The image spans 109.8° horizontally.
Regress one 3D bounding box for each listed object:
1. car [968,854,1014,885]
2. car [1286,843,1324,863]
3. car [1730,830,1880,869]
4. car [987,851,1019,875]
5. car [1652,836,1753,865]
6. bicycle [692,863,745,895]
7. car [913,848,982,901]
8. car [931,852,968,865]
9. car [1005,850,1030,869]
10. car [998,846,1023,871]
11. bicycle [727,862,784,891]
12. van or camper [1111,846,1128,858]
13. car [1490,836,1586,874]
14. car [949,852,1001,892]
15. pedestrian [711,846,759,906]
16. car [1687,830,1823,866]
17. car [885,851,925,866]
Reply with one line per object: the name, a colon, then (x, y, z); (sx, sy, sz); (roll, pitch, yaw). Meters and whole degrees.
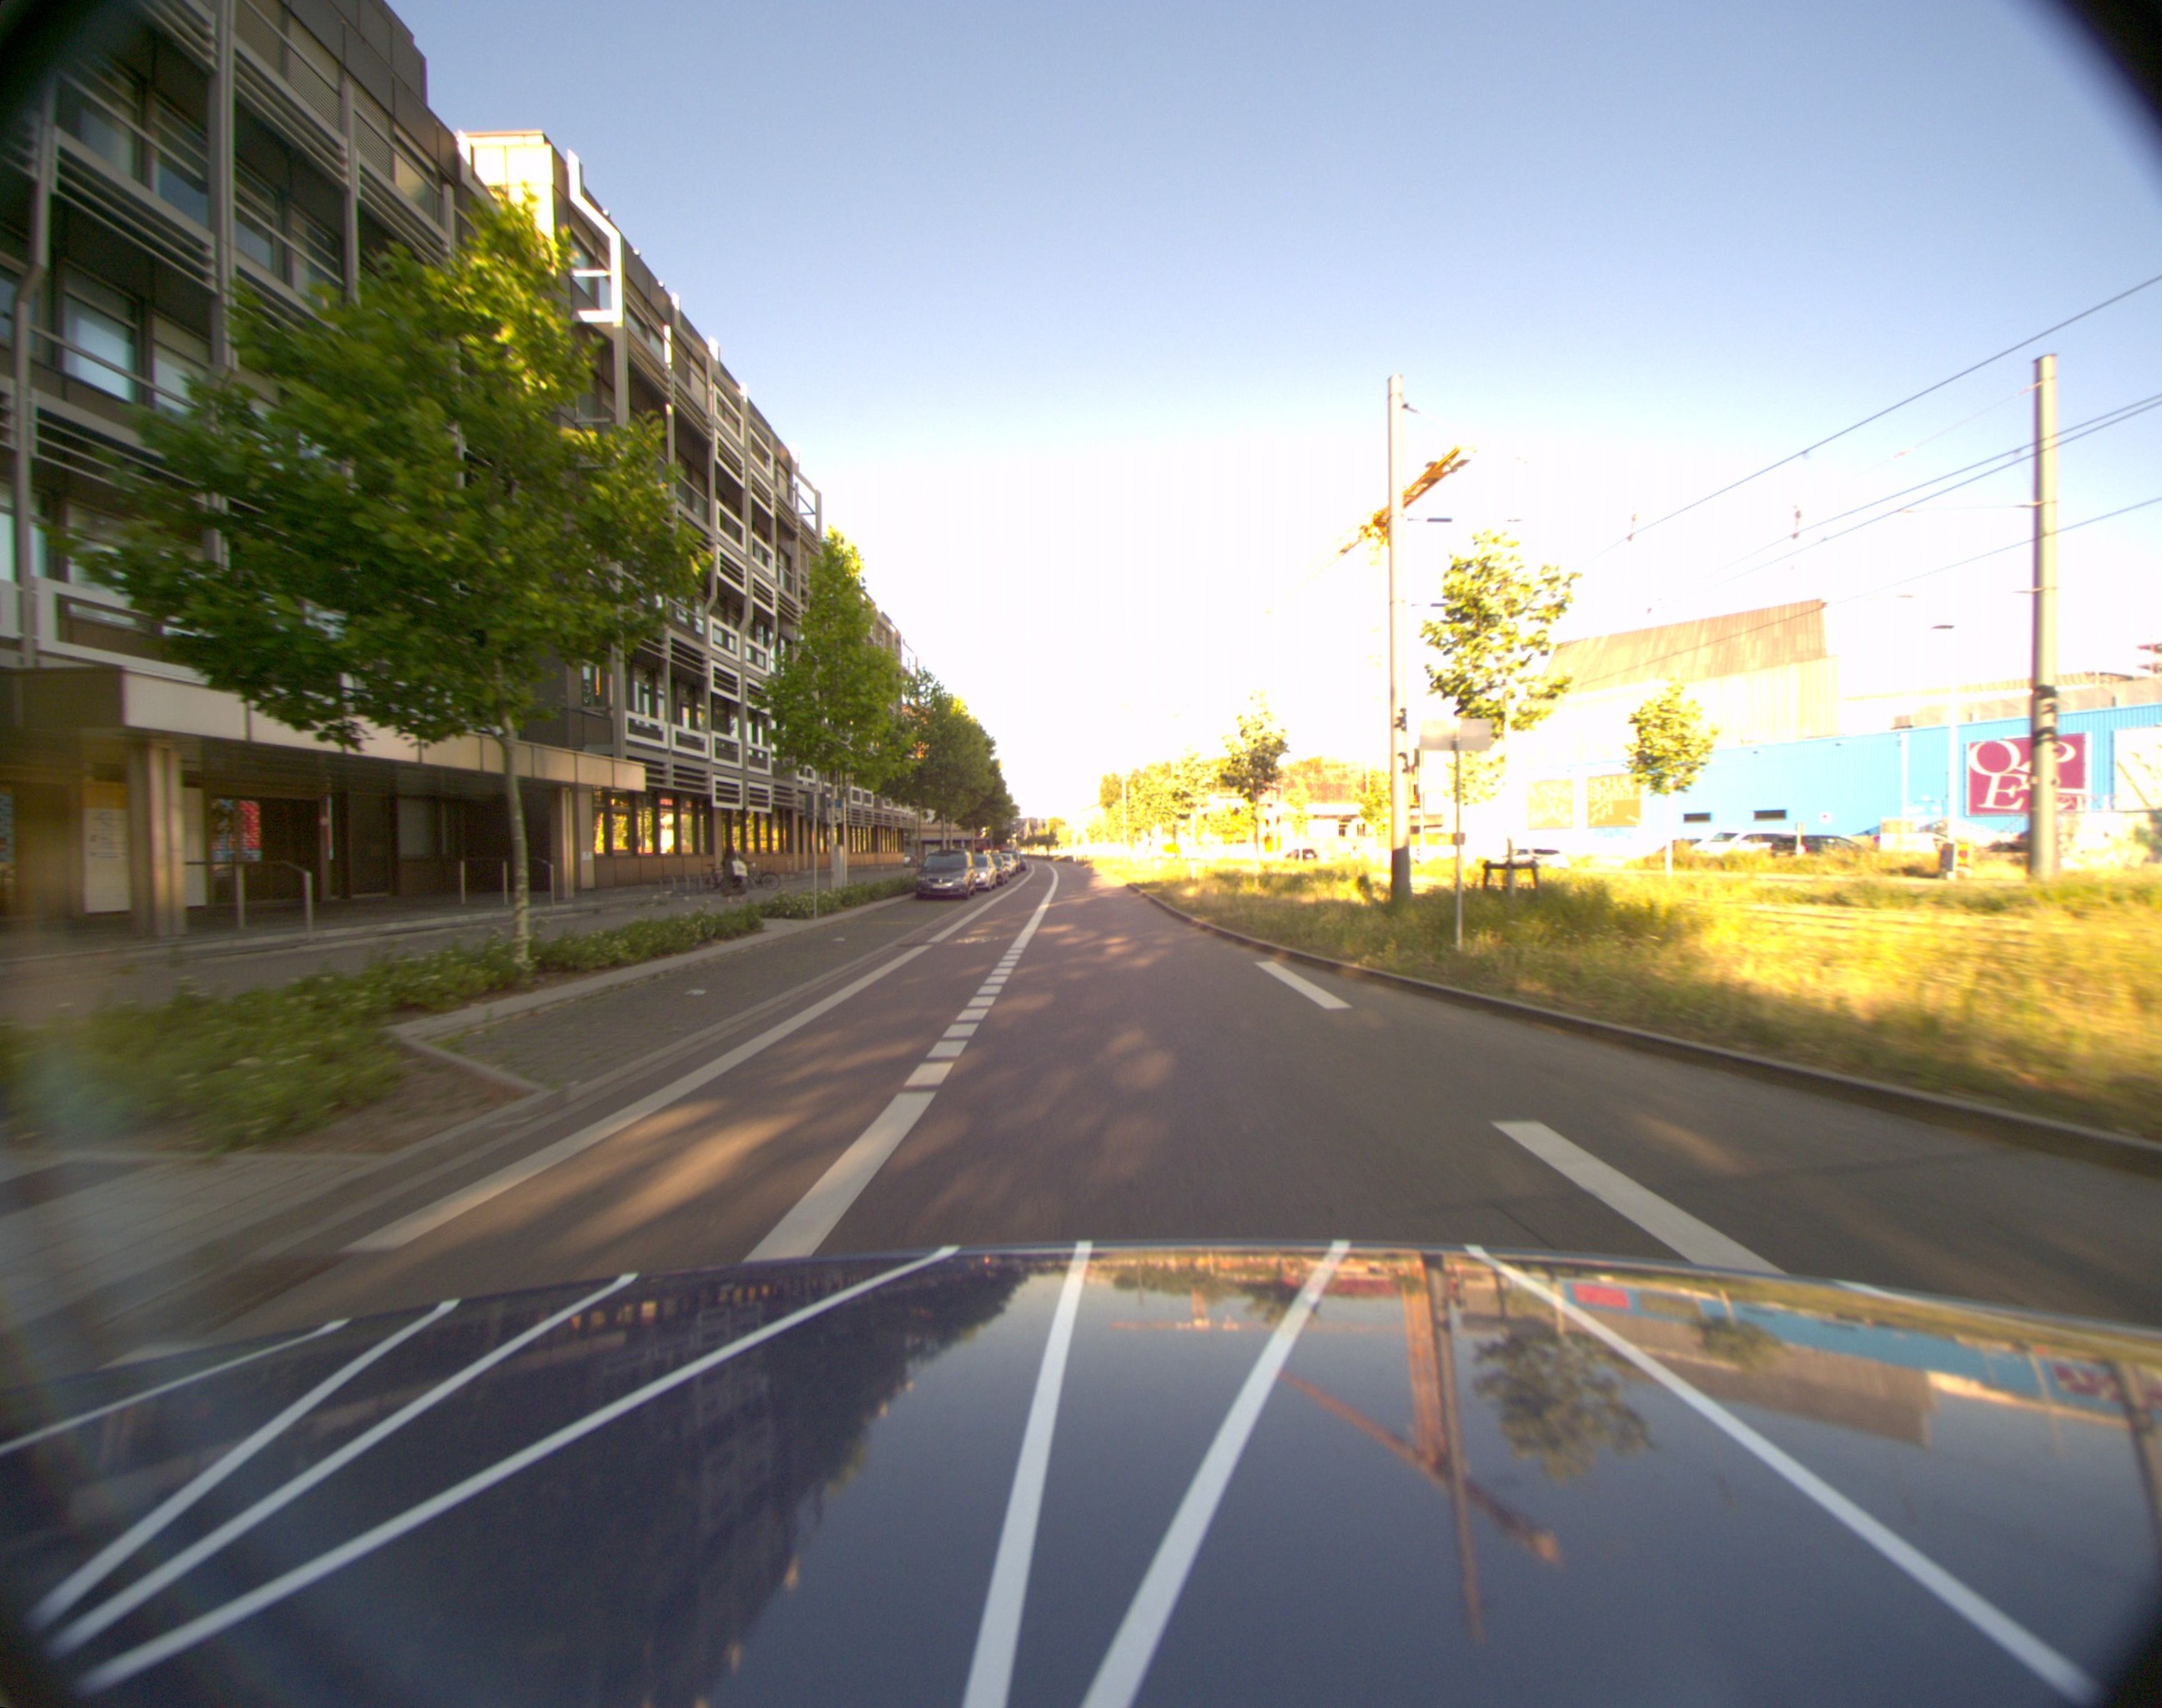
car: (-4.505, 0.722, 38.527); (1.799, 1.440, 4.376); (1, 0, -1)
car: (19.979, -0.116, 67.936); (1.999, 1.641, 4.270); (-1, 0, -1)
car: (34.597, -0.235, 36.398); (5.240, 1.707, 2.124); (-1, 1, -2)
car: (-5.032, 0.538, 49.617); (1.668, 1.481, 4.203); (1, 0, 0)
car: (34.176, -0.215, 41.872); (3.997, 1.476, 1.999); (-1, 1, -2)
bicycle: (-12.338, 0.862, 25.859); (1.631, 1.076, 0.392); (0, 1, 2)
car: (-4.623, 0.661, 26.915); (1.732, 1.678, 4.513); (1, 0, -1)
car: (-15.789, 0.506, 91.361); (4.276, 1.442, 1.861); (-1, 2, -12)
car: (-5.620, 0.452, 66.867); (1.937, 1.589, 4.696); (1, 0, -7)
car: (-5.493, 0.343, 59.468); (1.739, 1.908, 4.392); (1, 0, -3)
bicycle: (-12.082, 0.830, 28.191); (1.905, 1.086, 0.392); (0, 1, -6)
van or camper: (8.097, -0.393, 159.669); (2.229, 2.495, 7.196); (1, 0, -8)
car: (21.596, 0.030, 36.103); (1.999, 1.633, 4.166); (-1, 0, 0)
car: (-4.553, 0.721, 33.095); (1.732, 1.612, 4.215); (1, 0, -1)
pedestrian: (-9.681, 0.607, 21.291); (0.791, 1.639, 1.136); (0, 1, 0)
car: (34.660, -0.314, 39.176); (5.240, 1.707, 2.124); (-1, 1, -2)
car: (-20.863, 0.538, 90.242); (4.556, 1.586, 1.861); (-1, 2, -12)
